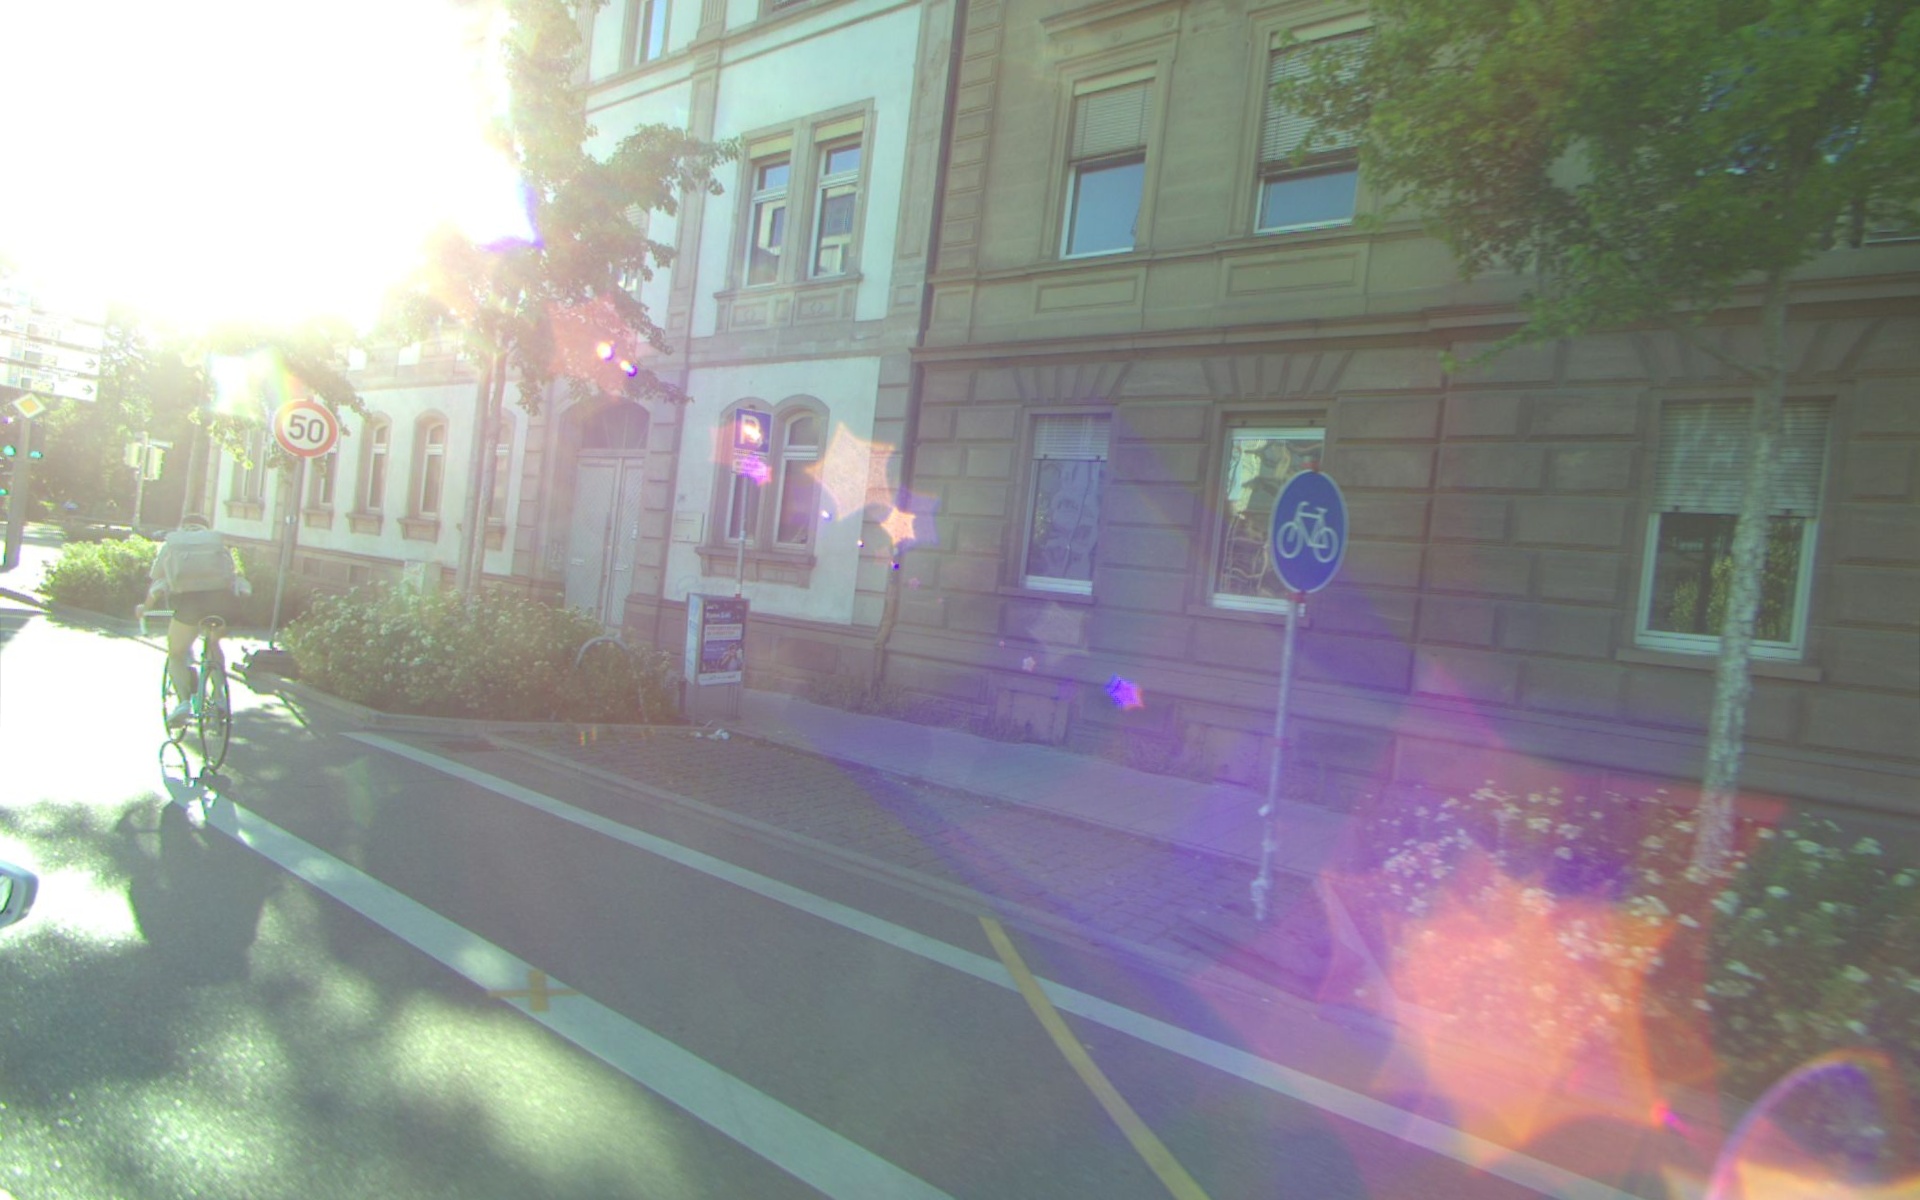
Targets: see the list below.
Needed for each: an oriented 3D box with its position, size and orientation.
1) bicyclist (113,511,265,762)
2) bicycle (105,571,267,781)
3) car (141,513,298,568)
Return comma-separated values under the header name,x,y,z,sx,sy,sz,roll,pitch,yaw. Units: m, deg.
name,x,y,z,sx,sy,sz,roll,pitch,yaw
bicyclist,-5.124,0.215,6.668,0.551,1.509,1.067,6,1,-45
bicycle,-5.174,0.451,6.676,1.818,1.111,0.519,7,1,44
car,-28.509,-2.256,38.937,4.551,1.492,1.889,7,-1,-30
